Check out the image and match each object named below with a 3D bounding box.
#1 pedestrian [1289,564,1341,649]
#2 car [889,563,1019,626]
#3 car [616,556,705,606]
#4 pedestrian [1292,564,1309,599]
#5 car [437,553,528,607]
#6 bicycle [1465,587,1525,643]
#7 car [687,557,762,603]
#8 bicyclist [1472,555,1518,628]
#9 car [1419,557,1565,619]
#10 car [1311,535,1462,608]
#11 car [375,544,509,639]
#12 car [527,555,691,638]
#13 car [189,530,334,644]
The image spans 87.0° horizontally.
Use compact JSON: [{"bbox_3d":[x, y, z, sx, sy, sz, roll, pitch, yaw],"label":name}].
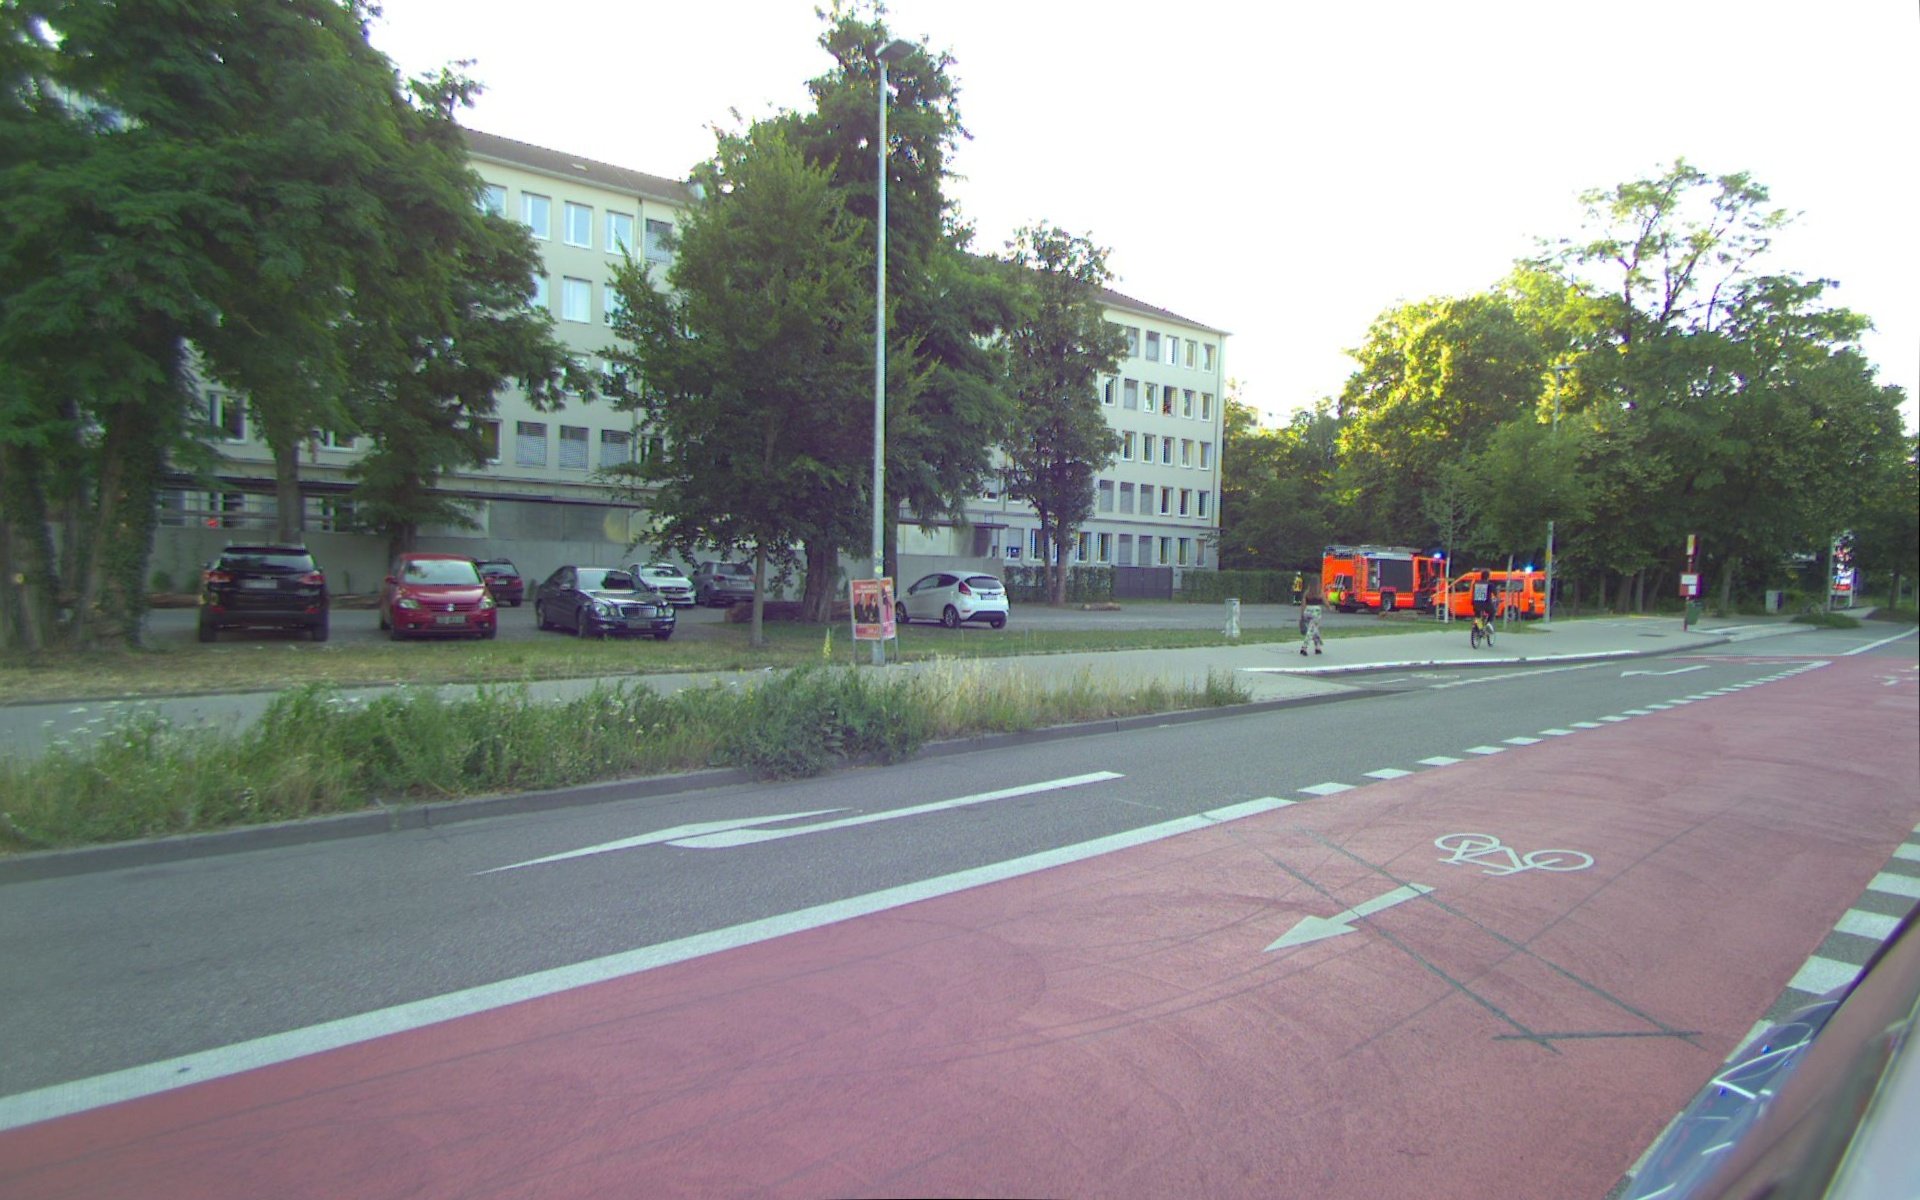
[{"bbox_3d":[7.006,0.119,19.971,0.676,1.642,0.682,1,2,-41],"label":"pedestrian"},{"bbox_3d":[-0.221,-0.193,26.856,1.633,1.477,3.667,0,2,-35],"label":"car"},{"bbox_3d":[-10.018,-0.662,33.687,1.880,1.540,3.921,0,2,-32],"label":"car"},{"bbox_3d":[18.676,-1.006,55.526,0.835,1.864,0.678,2,1,21],"label":"pedestrian"},{"bbox_3d":[-14.525,-0.640,30.700,1.738,1.477,3.626,0,3,-38],"label":"car"},{"bbox_3d":[12.522,0.330,23.676,1.866,1.256,0.571,0,2,-41],"label":"bicycle"},{"bbox_3d":[-8.202,-0.704,35.084,1.734,1.477,3.320,1,2,-27],"label":"car"},{"bbox_3d":[12.478,-0.197,23.614,1.019,1.652,0.571,0,2,-41],"label":"bicyclist"},{"bbox_3d":[22.781,-0.573,43.554,1.963,2.422,5.168,0,2,-37],"label":"car"},{"bbox_3d":[20.967,-1.354,49.517,8.138,3.283,2.775,0,2,-34],"label":"car"},{"bbox_3d":[-10.109,-0.233,19.598,1.882,1.630,4.003,0,2,-33],"label":"car"},{"bbox_3d":[-7.384,-0.144,20.991,1.883,1.482,4.519,0,3,-37],"label":"car"},{"bbox_3d":[-12.291,-0.294,17.864,1.882,1.761,4.241,0,2,-35],"label":"car"}]
